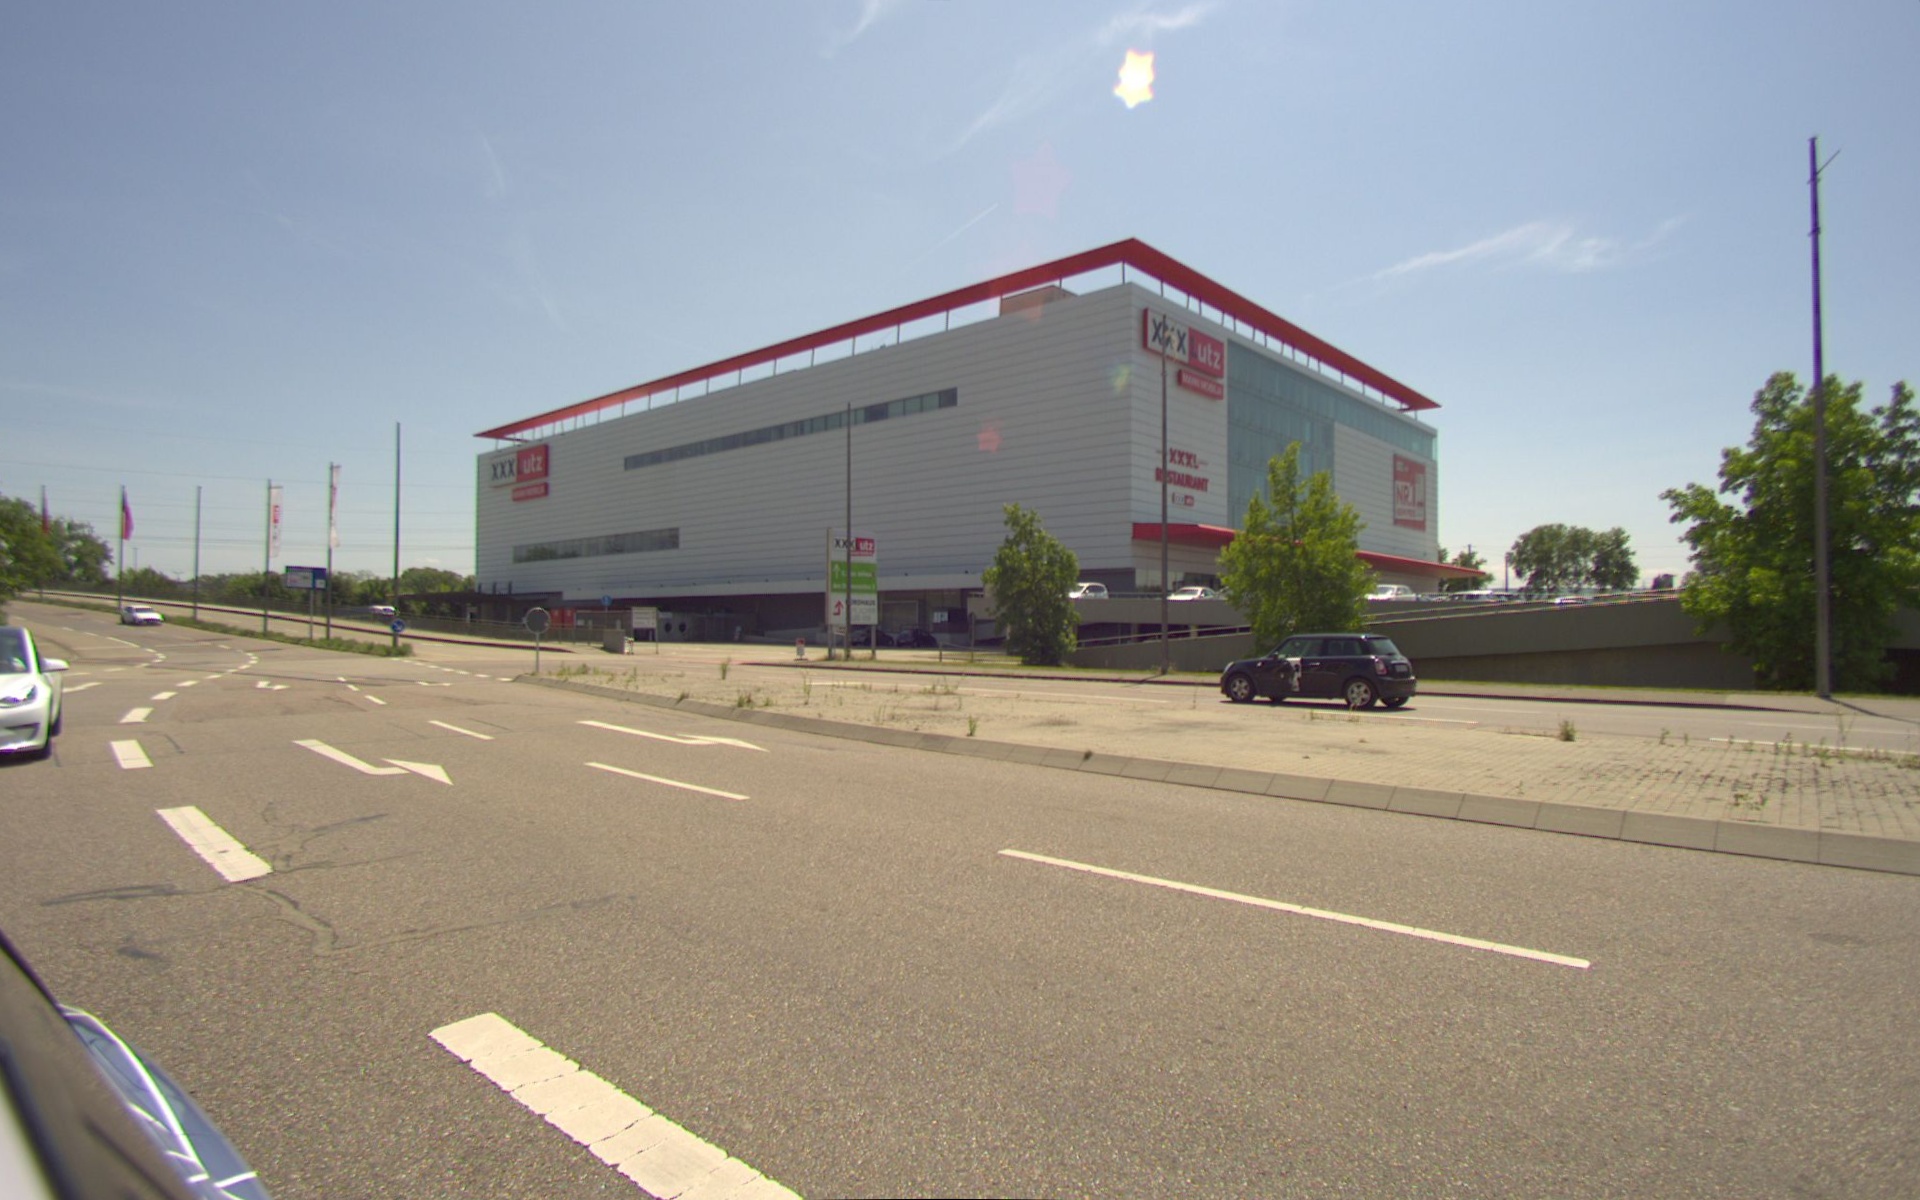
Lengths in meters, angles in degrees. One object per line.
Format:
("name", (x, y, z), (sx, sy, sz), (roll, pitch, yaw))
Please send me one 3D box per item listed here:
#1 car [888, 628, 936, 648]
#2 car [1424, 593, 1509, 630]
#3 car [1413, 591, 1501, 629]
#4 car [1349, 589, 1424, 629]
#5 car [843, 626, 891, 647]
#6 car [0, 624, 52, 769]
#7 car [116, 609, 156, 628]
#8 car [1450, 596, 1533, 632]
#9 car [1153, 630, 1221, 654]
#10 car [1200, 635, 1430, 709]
("car", (-3.807, 3.012, 79.784), (1.958, 1.507, 3.438), (-1, -2, 41))
("car", (29.080, 0.673, 58.118), (3.998, 2.029, 1.973), (-1, -2, 41))
("car", (27.667, 0.610, 56.397), (3.998, 2.029, 1.973), (-1, -2, 41))
("car", (20.157, 0.453, 47.806), (2.000, 1.781, 4.142), (-1, -2, 42))
("car", (-7.634, 2.994, 83.058), (1.910, 1.632, 3.699), (-1, -2, 40))
("car", (-11.394, 0.995, 11.281), (1.852, 1.436, 4.412), (0, -1, -42))
("car", (-66.328, 1.475, 81.455), (4.226, 1.461, 1.713), (0, 1, 39))
("car", (31.259, 0.855, 59.608), (3.998, 2.029, 1.973), (-1, -2, 41))
("car", (16.535, 3.034, 73.756), (4.407, 1.701, 1.975), (-1, -2, 36))
("car", (6.951, 1.376, 20.073), (1.834, 1.312, 3.896), (3, -4, -44))
